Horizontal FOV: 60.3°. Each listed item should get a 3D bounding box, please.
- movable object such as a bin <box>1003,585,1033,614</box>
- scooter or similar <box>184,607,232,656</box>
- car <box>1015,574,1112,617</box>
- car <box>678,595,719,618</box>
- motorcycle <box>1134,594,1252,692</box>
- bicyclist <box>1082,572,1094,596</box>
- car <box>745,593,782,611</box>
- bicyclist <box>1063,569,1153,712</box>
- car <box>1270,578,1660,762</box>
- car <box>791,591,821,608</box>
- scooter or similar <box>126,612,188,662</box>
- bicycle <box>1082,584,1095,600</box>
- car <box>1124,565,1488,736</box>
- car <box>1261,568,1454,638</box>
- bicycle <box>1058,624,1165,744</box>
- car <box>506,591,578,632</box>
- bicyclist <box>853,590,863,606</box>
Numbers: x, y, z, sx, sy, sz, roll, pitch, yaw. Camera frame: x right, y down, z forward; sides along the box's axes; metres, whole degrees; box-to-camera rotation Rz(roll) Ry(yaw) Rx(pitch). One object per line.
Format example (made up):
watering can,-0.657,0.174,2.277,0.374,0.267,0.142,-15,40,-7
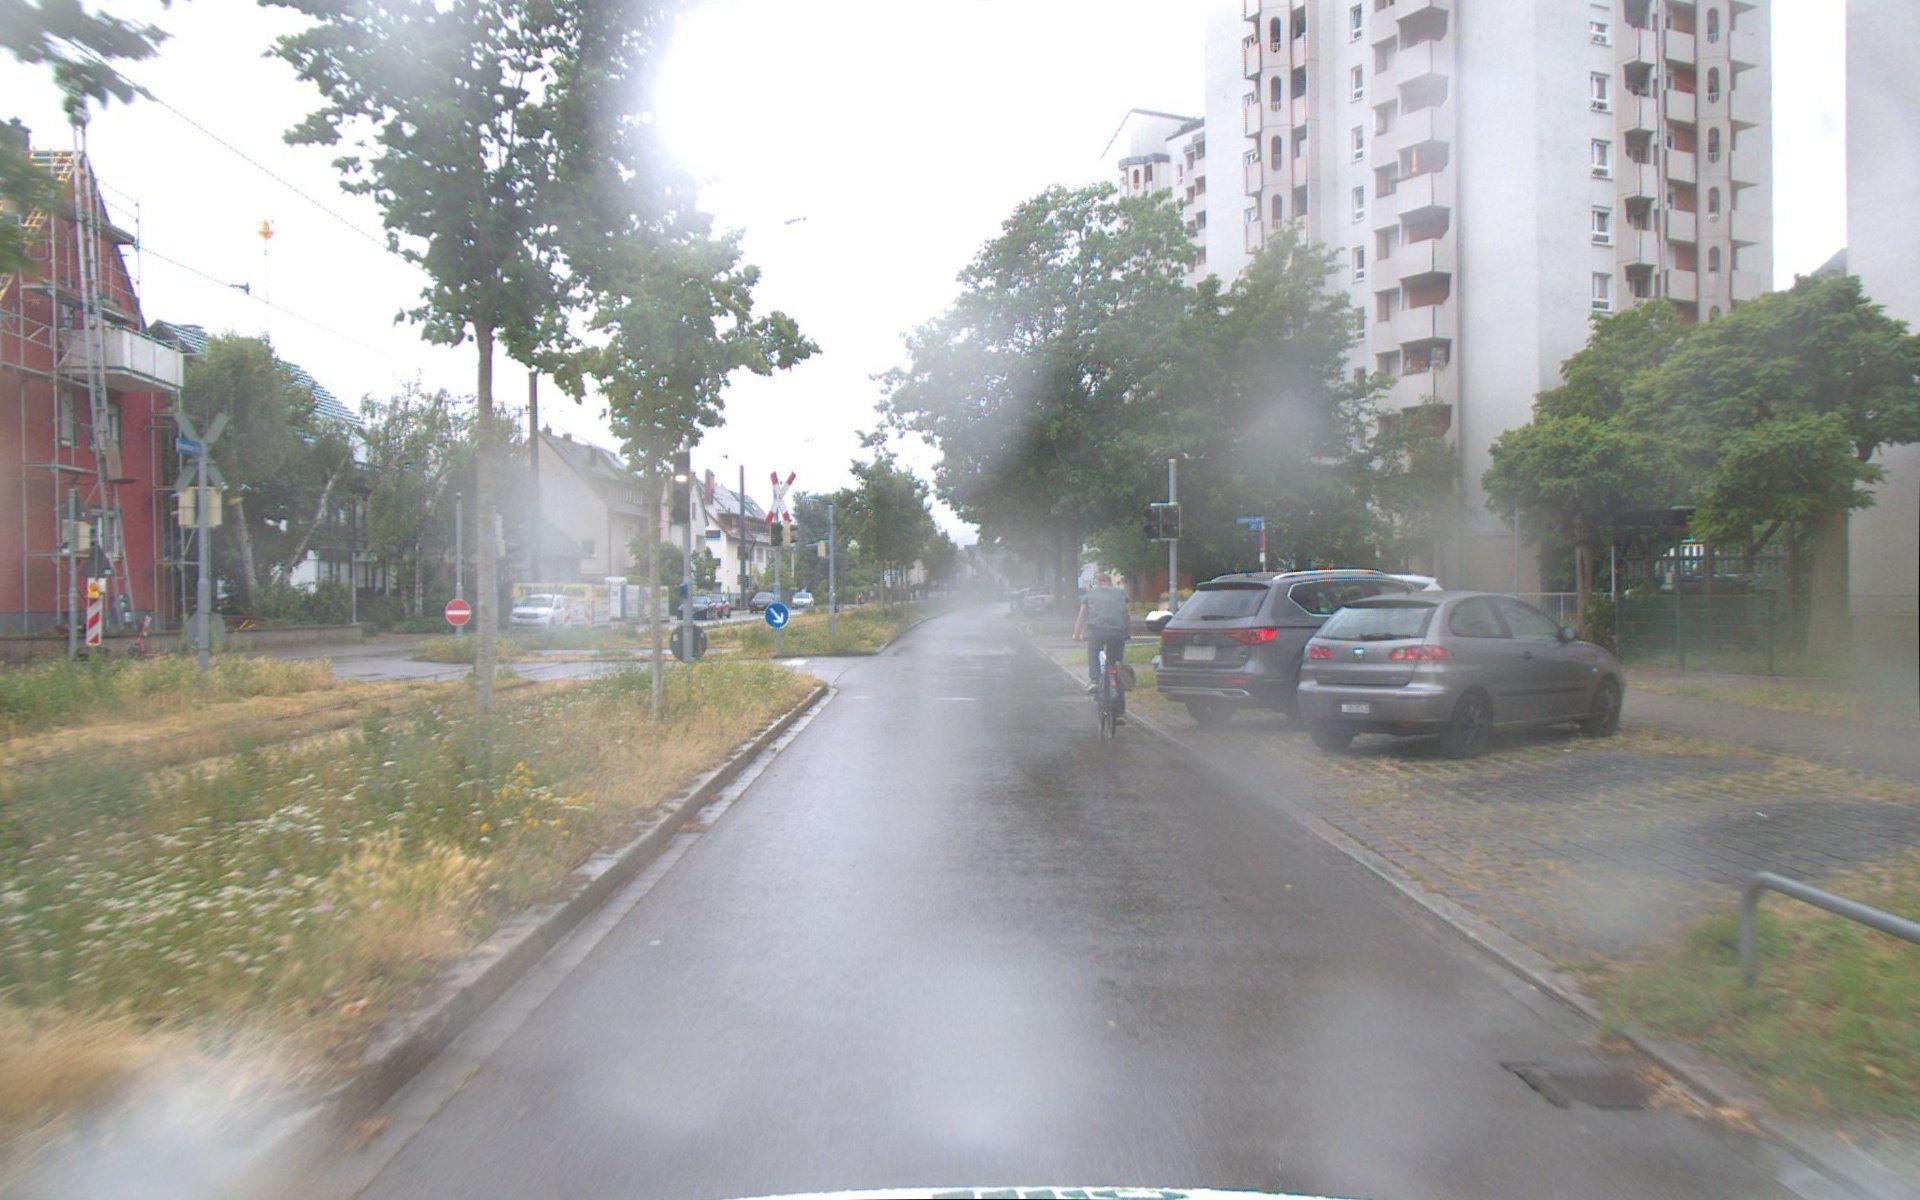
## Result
movable object such as a bin,3.173,-0.039,91.045,1.109,1.482,1.393,-7,2,-20
scooter or similar,-19.209,0.801,42.260,0.385,1.201,1.284,-1,0,15
car,4.873,-0.205,77.661,4.094,1.749,1.979,-4,2,-31
car,-15.373,0.384,97.315,1.629,1.266,4.072,1,0,1
motorcycle,3.486,0.620,24.648,1.761,1.360,0.680,-2,1,-37
bicyclist,8.816,-1.109,113.725,0.719,1.621,0.945,-1,0,1
car,-14.660,0.159,123.478,1.857,1.266,4.690,1,0,4
bicyclist,1.562,0.415,17.639,0.793,1.458,1.059,-1,0,-3
car,4.843,0.568,15.599,3.966,1.454,1.709,-2,1,-42
car,-13.536,-0.061,145.779,1.857,1.495,4.690,1,0,4
scooter or similar,-19.000,0.863,39.159,0.432,1.149,1.280,-1,0,30
bicycle,8.820,-0.576,113.822,0.719,1.075,2.051,-1,1,1
car,4.000,0.481,18.733,4.312,1.680,1.830,-2,1,-42
car,10.725,0.068,44.735,4.723,1.776,1.992,-1,0,-15
bicycle,1.584,0.853,17.728,0.793,1.116,2.516,-1,0,-3
car,-17.160,0.459,68.149,1.674,1.569,4.423,1,1,2
bicyclist,-11.342,-0.244,184.360,0.997,1.715,1.092,-1,0,1
